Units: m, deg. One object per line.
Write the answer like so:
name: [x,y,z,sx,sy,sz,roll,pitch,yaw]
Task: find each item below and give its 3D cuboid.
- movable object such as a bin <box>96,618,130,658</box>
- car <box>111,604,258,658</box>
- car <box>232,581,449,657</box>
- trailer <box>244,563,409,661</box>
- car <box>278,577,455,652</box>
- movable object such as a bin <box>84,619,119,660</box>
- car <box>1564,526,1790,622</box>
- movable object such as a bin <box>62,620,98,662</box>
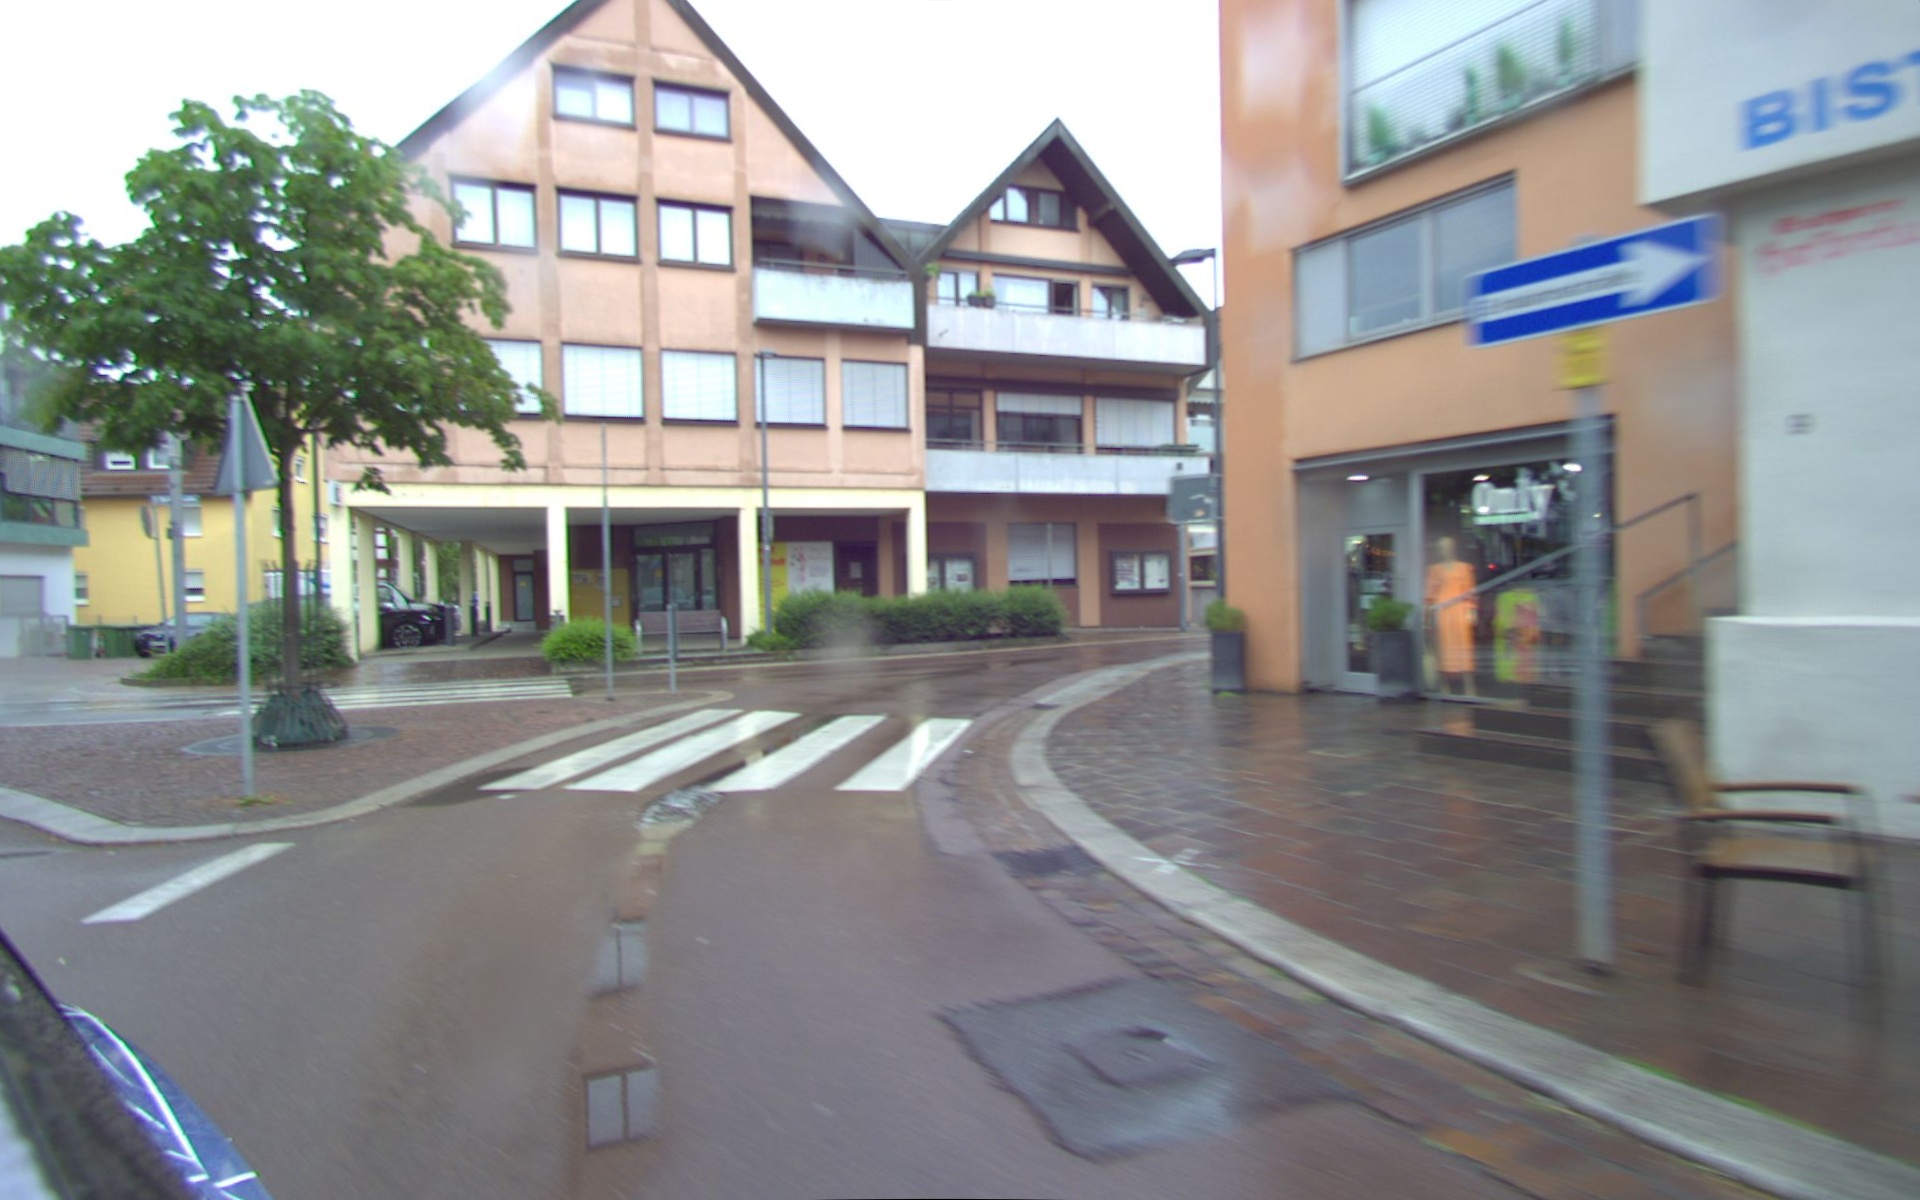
movable object such as a bin: [-27.460,1.232,32.802,0.621,1.242,0.525,-1,2,-9]
car: [-26.040,0.984,34.198,1.968,1.519,4.553,-1,2,-9]
car: [-14.127,0.381,23.339,3.931,1.519,1.842,-2,2,-20]
trailer: [-15.717,0.286,25.297,3.040,2.103,1.842,-5,1,-20]
car: [-16.613,0.383,28.547,3.932,1.683,1.842,-5,1,-20]
movable object such as a bin: [-27.333,1.256,32.231,0.621,1.242,0.525,-1,2,-9]
car: [18.885,-0.741,26.615,5.857,2.316,2.218,-2,2,-25]
movable object such as a bin: [-27.165,1.272,31.249,0.621,1.242,0.525,-1,2,-9]
